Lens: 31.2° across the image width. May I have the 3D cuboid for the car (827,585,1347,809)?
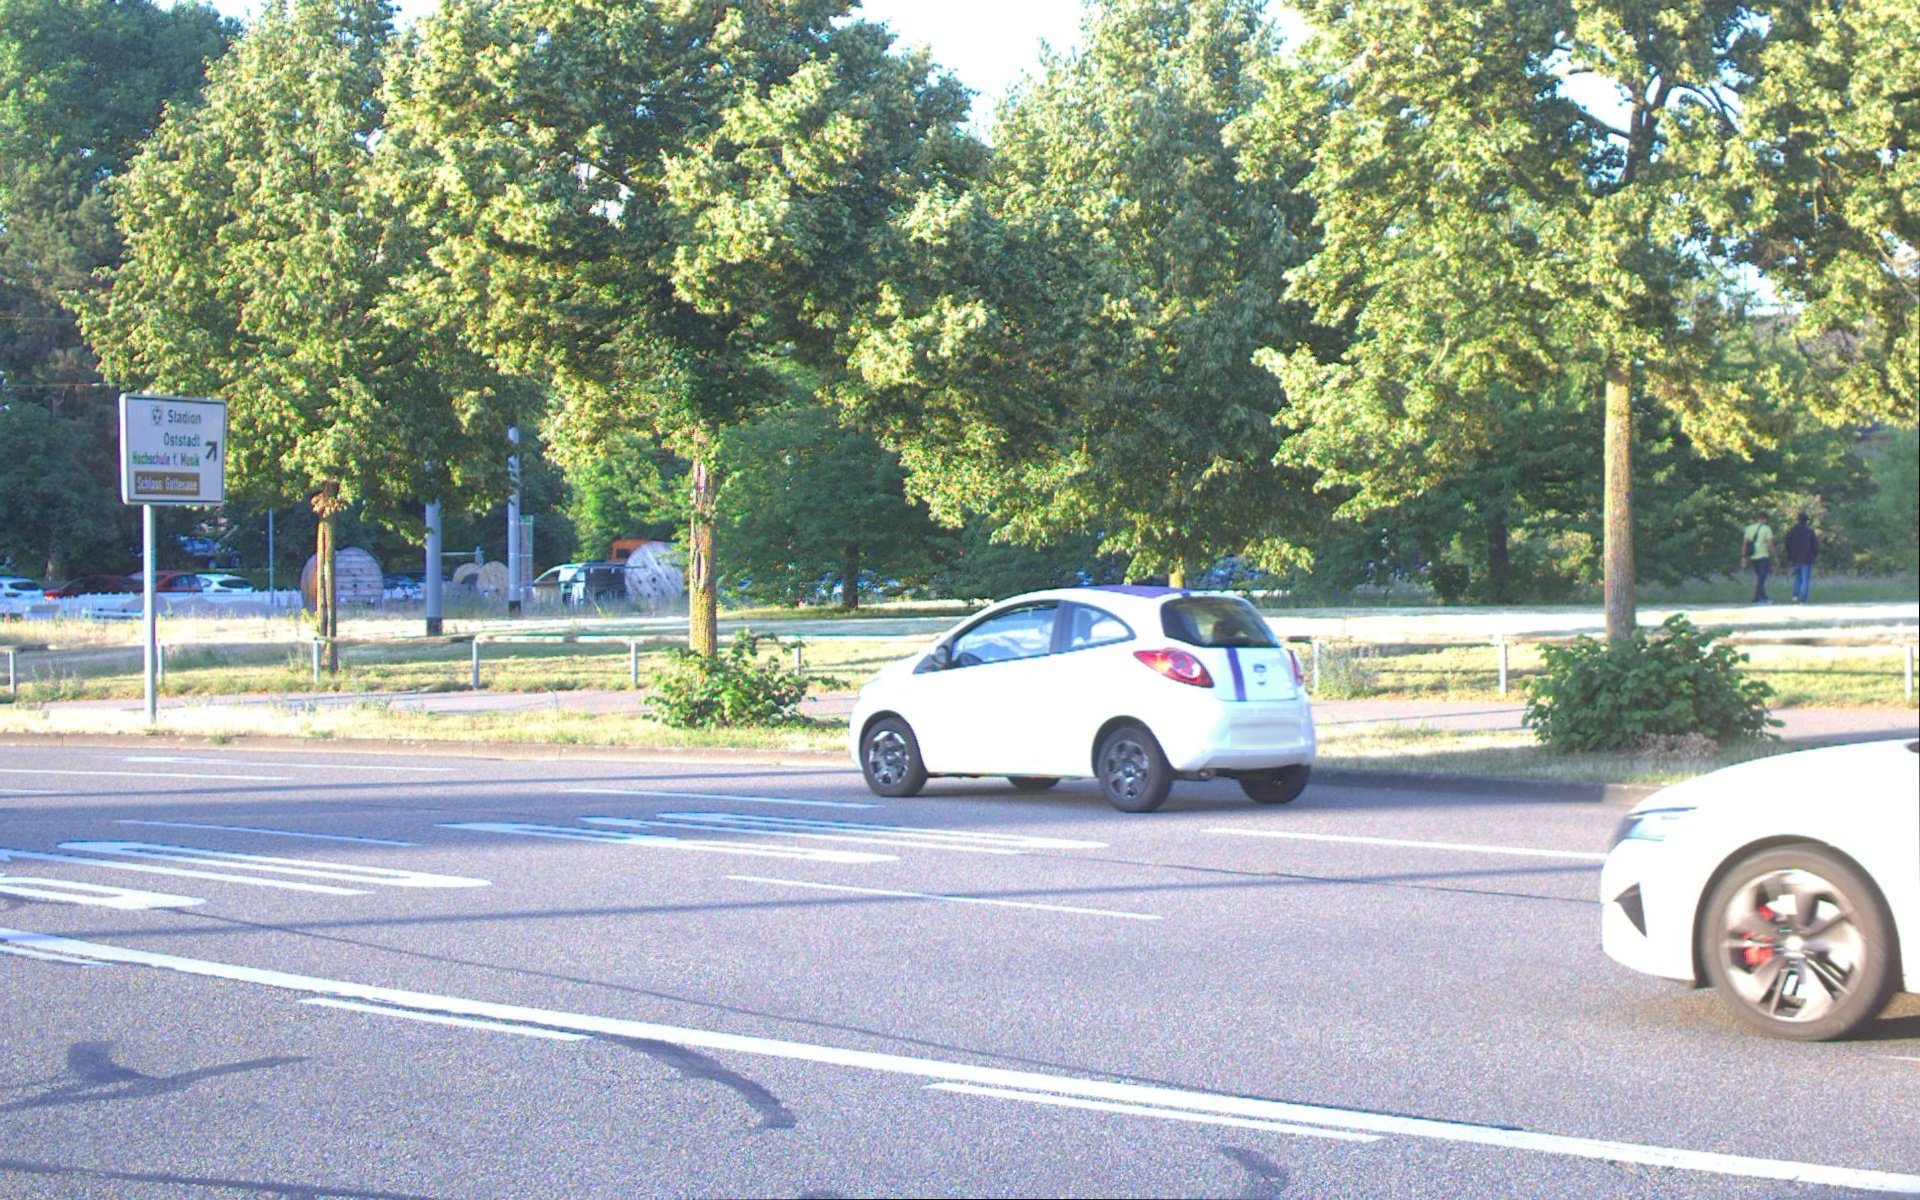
[{"bbox_3d":[0.834,0.620,23.962,3.484,1.438,1.550,0,0,44],"label":"car"}]

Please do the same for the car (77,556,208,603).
[{"bbox_3d":[-27.161,-0.686,114.210,3.994,1.545,1.997,0,1,31],"label":"car"}]

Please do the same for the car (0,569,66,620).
[{"bbox_3d":[-30.226,-0.192,107.821,3.994,1.545,1.997,0,1,31],"label":"car"}]

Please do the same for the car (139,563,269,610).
[{"bbox_3d":[-25.447,-0.457,115.709,3.994,1.545,1.997,0,1,31],"label":"car"}]

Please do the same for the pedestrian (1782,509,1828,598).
[{"bbox_3d":[15.430,-0.850,62.792,0.618,1.621,0.530,-1,1,-30],"label":"pedestrian"}]

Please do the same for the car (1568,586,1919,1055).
[{"bbox_3d":[4.411,0.706,11.011,4.543,1.444,1.724,0,2,34],"label":"car"}]

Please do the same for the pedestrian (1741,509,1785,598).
[{"bbox_3d":[14.700,-0.852,62.948,0.579,1.621,0.533,-1,1,-31],"label":"pedestrian"}]
